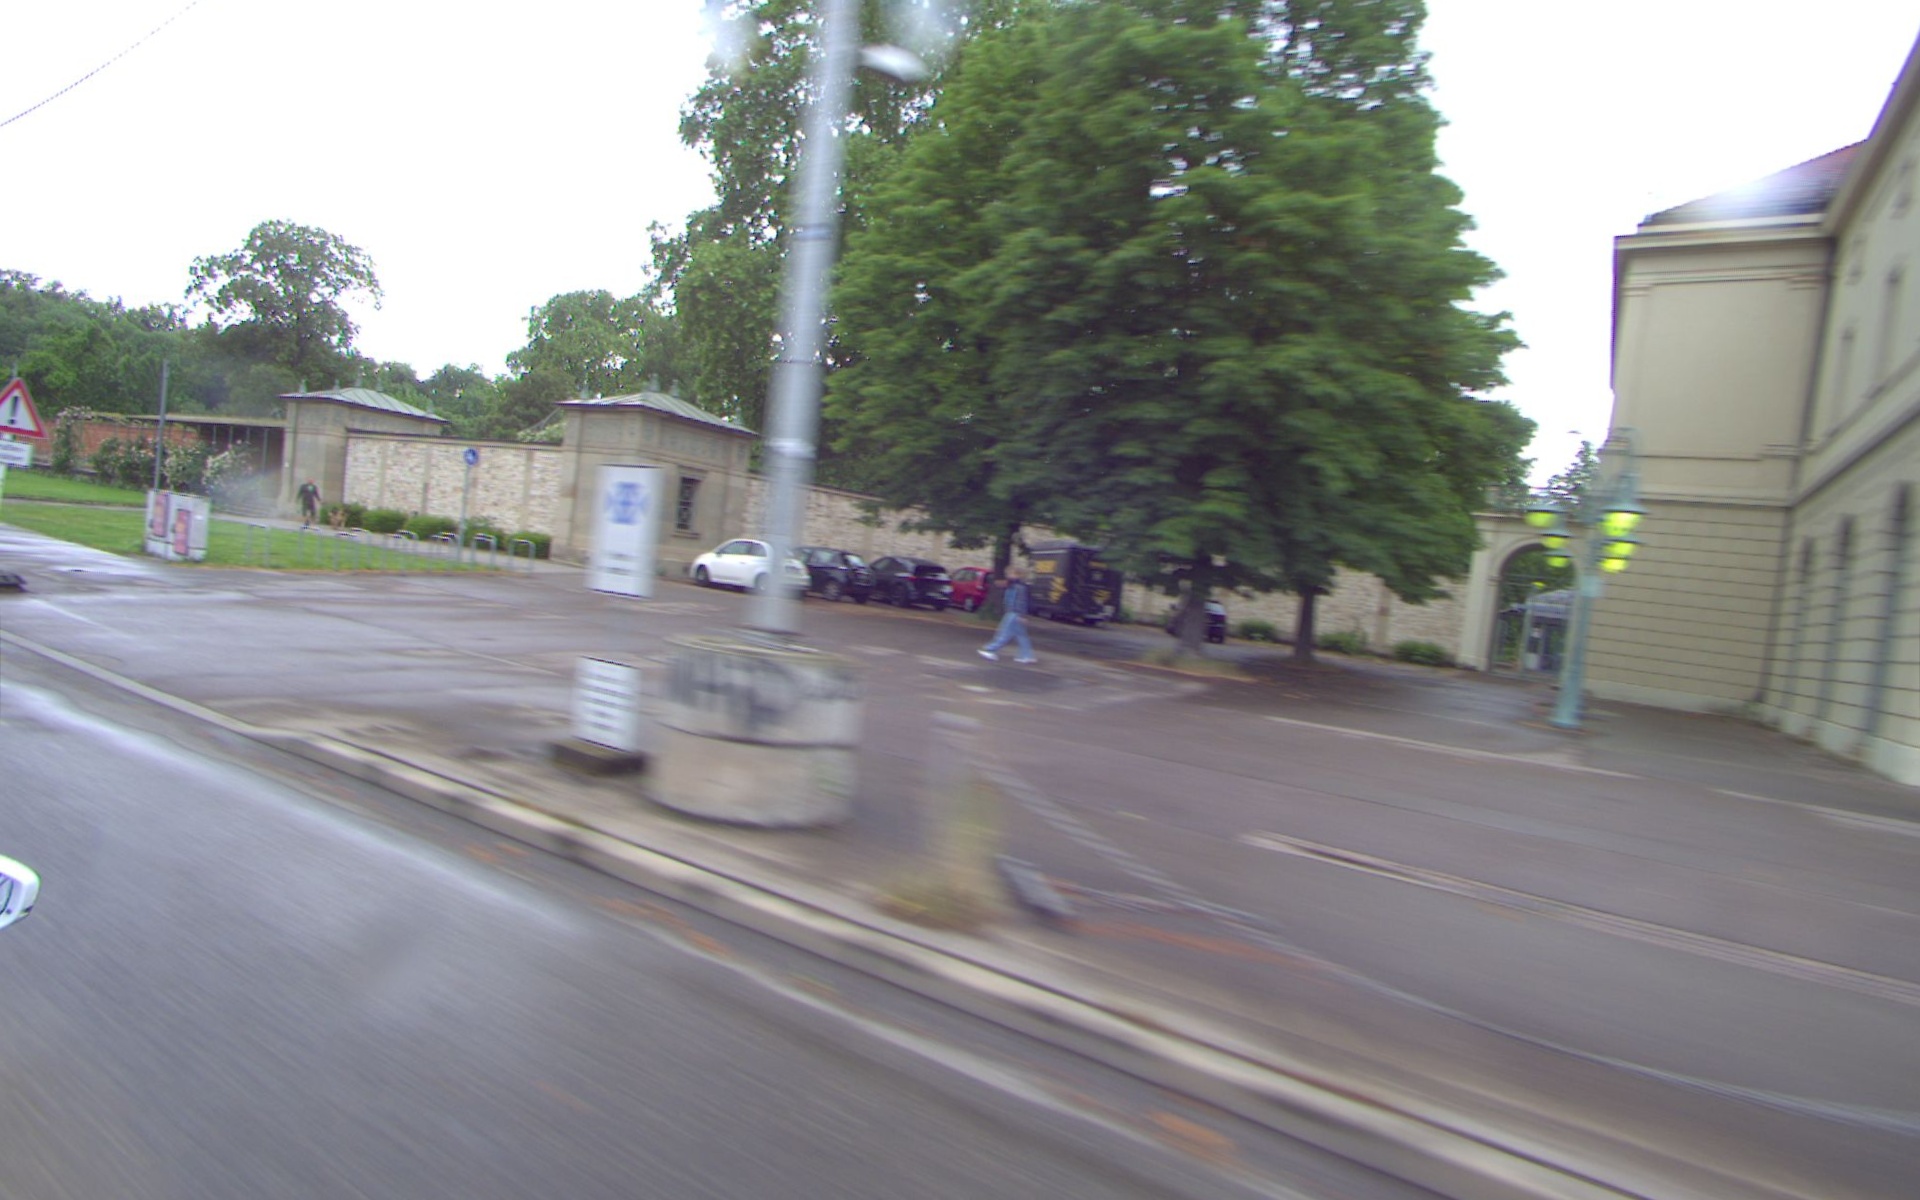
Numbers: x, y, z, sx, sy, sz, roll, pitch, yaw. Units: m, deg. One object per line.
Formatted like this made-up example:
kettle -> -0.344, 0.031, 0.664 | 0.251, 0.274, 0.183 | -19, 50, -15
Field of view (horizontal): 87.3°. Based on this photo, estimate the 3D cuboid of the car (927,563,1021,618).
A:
car -> 0.417, -0.372, 35.081 | 1.659, 1.462, 4.126 | 6, 3, -23

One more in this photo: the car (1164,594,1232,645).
car -> 8.367, 0.628, 35.628 | 1.708, 1.426, 4.275 | 7, 2, 7

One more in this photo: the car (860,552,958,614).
car -> -1.730, -0.608, 32.474 | 1.752, 1.548, 4.076 | 6, 3, -23

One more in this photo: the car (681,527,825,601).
car -> -5.770, -0.999, 27.980 | 3.537, 1.474, 1.837 | 10, 4, 32

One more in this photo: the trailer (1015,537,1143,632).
trailer -> 4.046, -0.650, 35.562 | 2.115, 2.823, 5.629 | 6, 3, -17

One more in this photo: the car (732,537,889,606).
car -> -4.462, -0.842, 30.024 | 4.111, 1.509, 1.898 | 8, 3, 21

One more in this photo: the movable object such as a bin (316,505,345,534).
movable object such as a bin -> -21.708, -2.791, 34.703 | 1.172, 0.884, 0.342 | 8, 3, 33

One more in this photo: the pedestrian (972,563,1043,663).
pedestrian -> 0.811, 0.228, 17.267 | 0.856, 1.613, 0.662 | 4, 4, -32

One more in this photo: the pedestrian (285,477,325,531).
pedestrian -> -22.487, -3.287, 34.532 | 0.965, 1.734, 0.728 | 8, 3, 33
